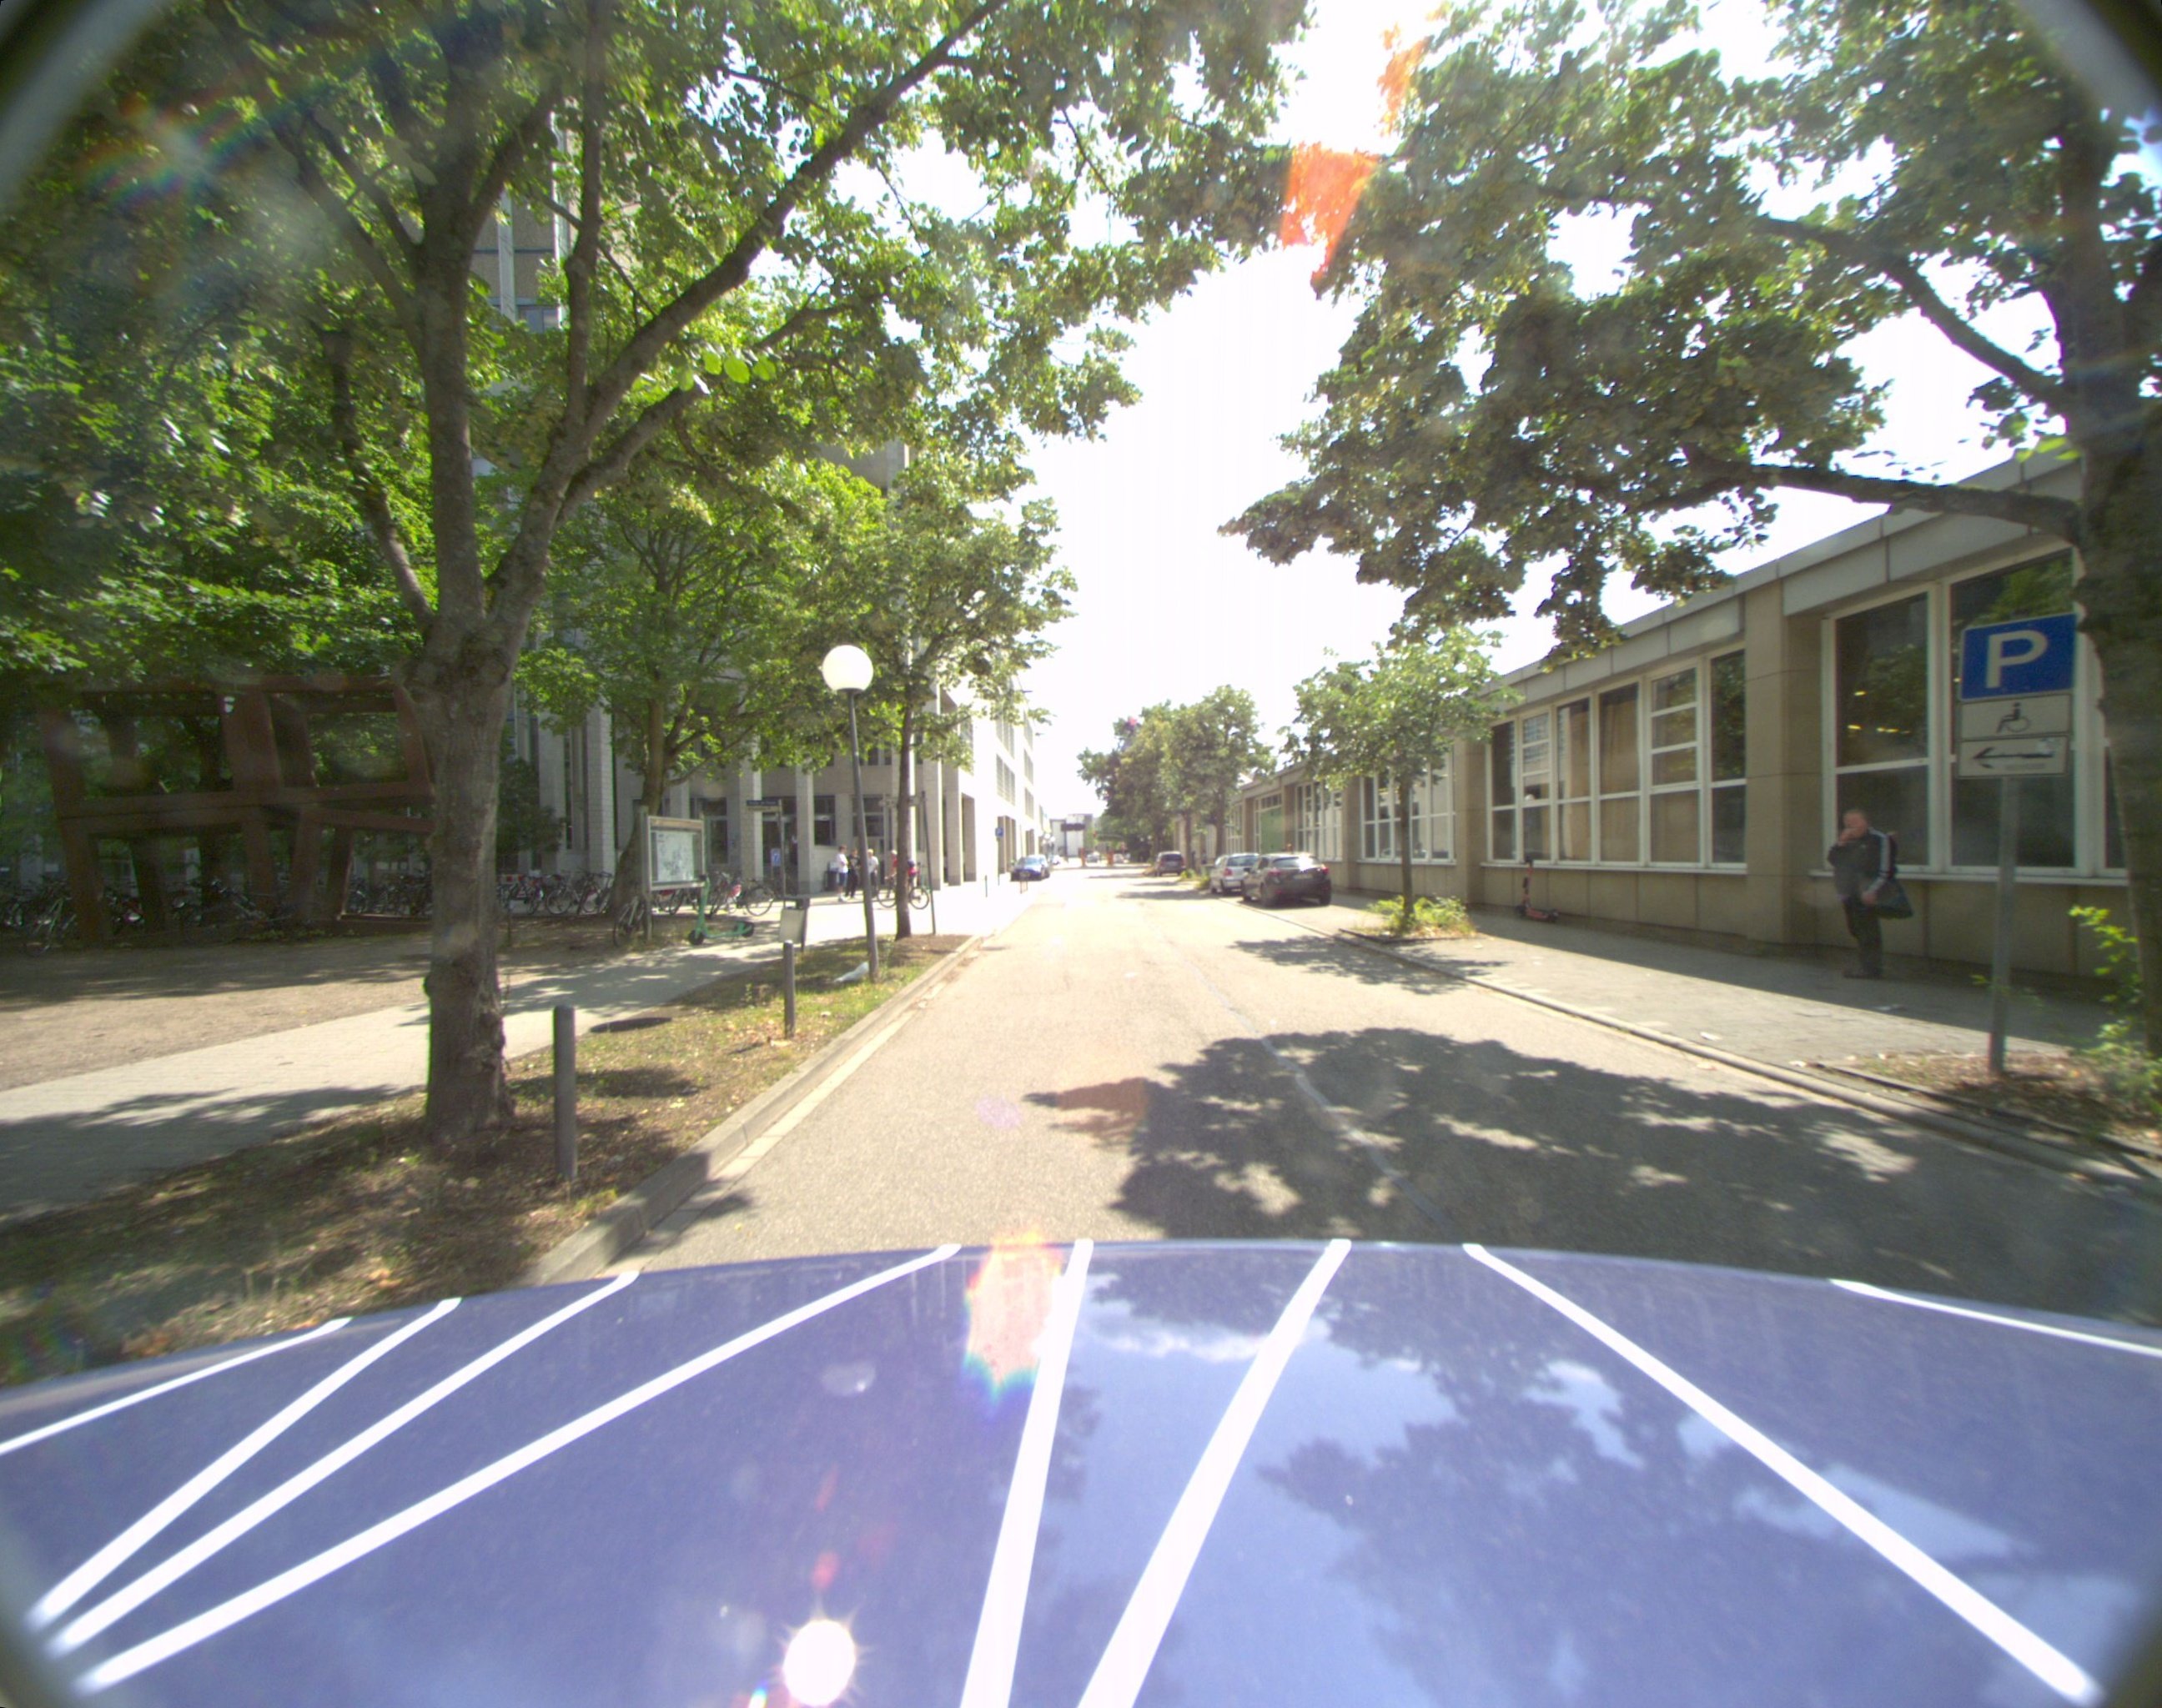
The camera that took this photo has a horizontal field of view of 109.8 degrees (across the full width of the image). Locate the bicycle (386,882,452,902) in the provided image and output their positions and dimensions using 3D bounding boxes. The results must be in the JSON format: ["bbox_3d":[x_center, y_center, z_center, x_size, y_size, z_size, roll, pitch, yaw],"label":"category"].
[{"bbox_3d":[-27.211,1.555,31.250,1.990,0.755,0.643,0,-1,-10],"label":"bicycle"}]

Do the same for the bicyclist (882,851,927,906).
[{"bbox_3d":[-5.165,0.714,22.313,0.957,1.534,0.839,2,-1,13],"label":"bicyclist"}]

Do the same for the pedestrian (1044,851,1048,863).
[{"bbox_3d":[-4.457,0.399,97.617,0.383,1.620,0.519,2,0,1],"label":"pedestrian"}]

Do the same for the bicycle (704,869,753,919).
[{"bbox_3d":[-8.676,0.965,18.755,0.561,1.135,1.489,1,1,-2],"label":"bicycle"}]

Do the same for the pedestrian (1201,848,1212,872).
[{"bbox_3d":[8.509,0.401,51.418,0.605,1.571,0.551,1,0,-2],"label":"pedestrian"}]

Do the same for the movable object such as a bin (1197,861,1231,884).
[{"bbox_3d":[6.312,0.872,36.131,1.295,0.979,1.696,-3,-1,1],"label":"movable object such as a bin"}]

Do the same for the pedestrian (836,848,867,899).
[{"bbox_3d":[-8.143,0.676,26.986,0.811,1.787,0.618,-2,2,-43],"label":"pedestrian"}]

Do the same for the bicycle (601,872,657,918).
[{"bbox_3d":[-11.254,1.000,18.975,0.460,1.079,1.474,1,-1,2],"label":"bicycle"}]

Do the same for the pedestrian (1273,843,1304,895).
[{"bbox_3d":[7.091,0.502,25.912,0.798,1.718,0.600,-1,1,-25],"label":"pedestrian"}]

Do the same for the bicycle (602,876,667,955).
[{"bbox_3d":[-7.298,0.964,12.484,0.629,1.078,1.684,-3,4,-23],"label":"bicycle"}]

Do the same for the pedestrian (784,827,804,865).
[{"bbox_3d":[-13.235,-0.388,35.059,0.690,1.724,0.685,-1,1,-10],"label":"pedestrian"}]

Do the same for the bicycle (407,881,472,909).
[{"bbox_3d":[-22.882,1.443,27.132,0.447,0.894,1.779,-2,-1,19],"label":"bicycle"}]

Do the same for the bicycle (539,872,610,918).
[{"bbox_3d":[-12.509,0.986,18.818,0.481,1.079,1.697,1,-1,6],"label":"bicycle"}]

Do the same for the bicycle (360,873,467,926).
[{"bbox_3d":[-14.219,0.940,16.254,0.463,1.071,1.829,1,-1,8],"label":"bicycle"}]

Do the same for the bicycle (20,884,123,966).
[{"bbox_3d":[-15.713,1.065,11.868,0.476,1.103,1.665,-2,2,-36],"label":"bicycle"}]

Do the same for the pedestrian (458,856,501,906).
[{"bbox_3d":[-21.511,0.948,27.186,0.938,1.730,0.748,-2,1,-19],"label":"pedestrian"}]

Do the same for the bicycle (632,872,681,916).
[{"bbox_3d":[-10.779,1.001,19.339,0.460,1.079,1.440,1,-1,-2],"label":"bicycle"}]

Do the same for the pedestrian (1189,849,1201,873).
[{"bbox_3d":[7.738,0.473,51.437,0.604,1.571,0.552,1,0,31],"label":"pedestrian"}]

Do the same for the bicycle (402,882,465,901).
[{"bbox_3d":[-27.227,1.562,31.971,1.990,0.755,0.643,0,-1,-10],"label":"bicycle"}]

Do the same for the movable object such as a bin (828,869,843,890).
[{"bbox_3d":[-11.008,1.133,34.061,0.513,0.944,0.512,2,0,-1],"label":"movable object such as a bin"}]

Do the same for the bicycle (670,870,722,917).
[{"bbox_3d":[-9.601,0.965,19.012,0.561,1.134,1.490,1,-1,-2],"label":"bicycle"}]

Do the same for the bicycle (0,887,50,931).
[{"bbox_3d":[-27.111,1.391,18.961,0.478,1.077,1.688,-3,-1,-5],"label":"bicycle"}]

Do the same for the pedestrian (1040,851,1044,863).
[{"bbox_3d":[-4.969,0.389,97.668,0.441,1.620,0.570,2,0,1],"label":"pedestrian"}]

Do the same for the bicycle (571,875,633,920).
[{"bbox_3d":[-12.015,1.077,19.101,0.481,1.079,1.516,1,-1,6],"label":"bicycle"}]

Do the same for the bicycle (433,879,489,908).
[{"bbox_3d":[-22.048,1.400,27.049,0.337,0.894,1.777,-2,1,6],"label":"bicycle"}]

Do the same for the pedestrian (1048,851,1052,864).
[{"bbox_3d":[-3.967,0.416,97.604,0.383,1.620,0.519,2,0,1],"label":"pedestrian"}]

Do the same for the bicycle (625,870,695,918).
[{"bbox_3d":[-10.342,0.969,18.714,0.491,1.134,1.529,0,-1,20],"label":"bicycle"}]

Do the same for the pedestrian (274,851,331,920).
[{"bbox_3d":[-19.694,0.776,19.229,0.428,1.693,0.944,-3,0,-4],"label":"pedestrian"}]

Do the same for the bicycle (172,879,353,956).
[{"bbox_3d":[-13.517,1.016,12.634,1.928,1.103,0.631,-2,2,-36],"label":"bicycle"}]

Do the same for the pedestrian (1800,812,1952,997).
[{"bbox_3d":[8.152,0.498,7.828,0.670,1.776,0.791,-3,0,0],"label":"pedestrian"}]

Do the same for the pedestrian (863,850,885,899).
[{"bbox_3d":[-7.378,0.719,27.102,0.613,1.719,0.542,-1,1,1],"label":"pedestrian"}]

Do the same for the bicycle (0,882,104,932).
[{"bbox_3d":[-25.440,1.293,18.755,0.478,1.123,1.688,-3,-1,-5],"label":"bicycle"}]

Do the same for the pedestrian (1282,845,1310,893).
[{"bbox_3d":[7.072,0.487,25.060,0.796,1.533,0.664,-1,1,10],"label":"pedestrian"}]

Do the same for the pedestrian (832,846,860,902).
[{"bbox_3d":[-8.009,0.675,25.914,0.687,1.880,0.686,-2,2,-2],"label":"pedestrian"}]

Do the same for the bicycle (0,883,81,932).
[{"bbox_3d":[-26.057,1.312,18.774,0.478,1.123,1.688,-3,-1,-5],"label":"bicycle"}]
